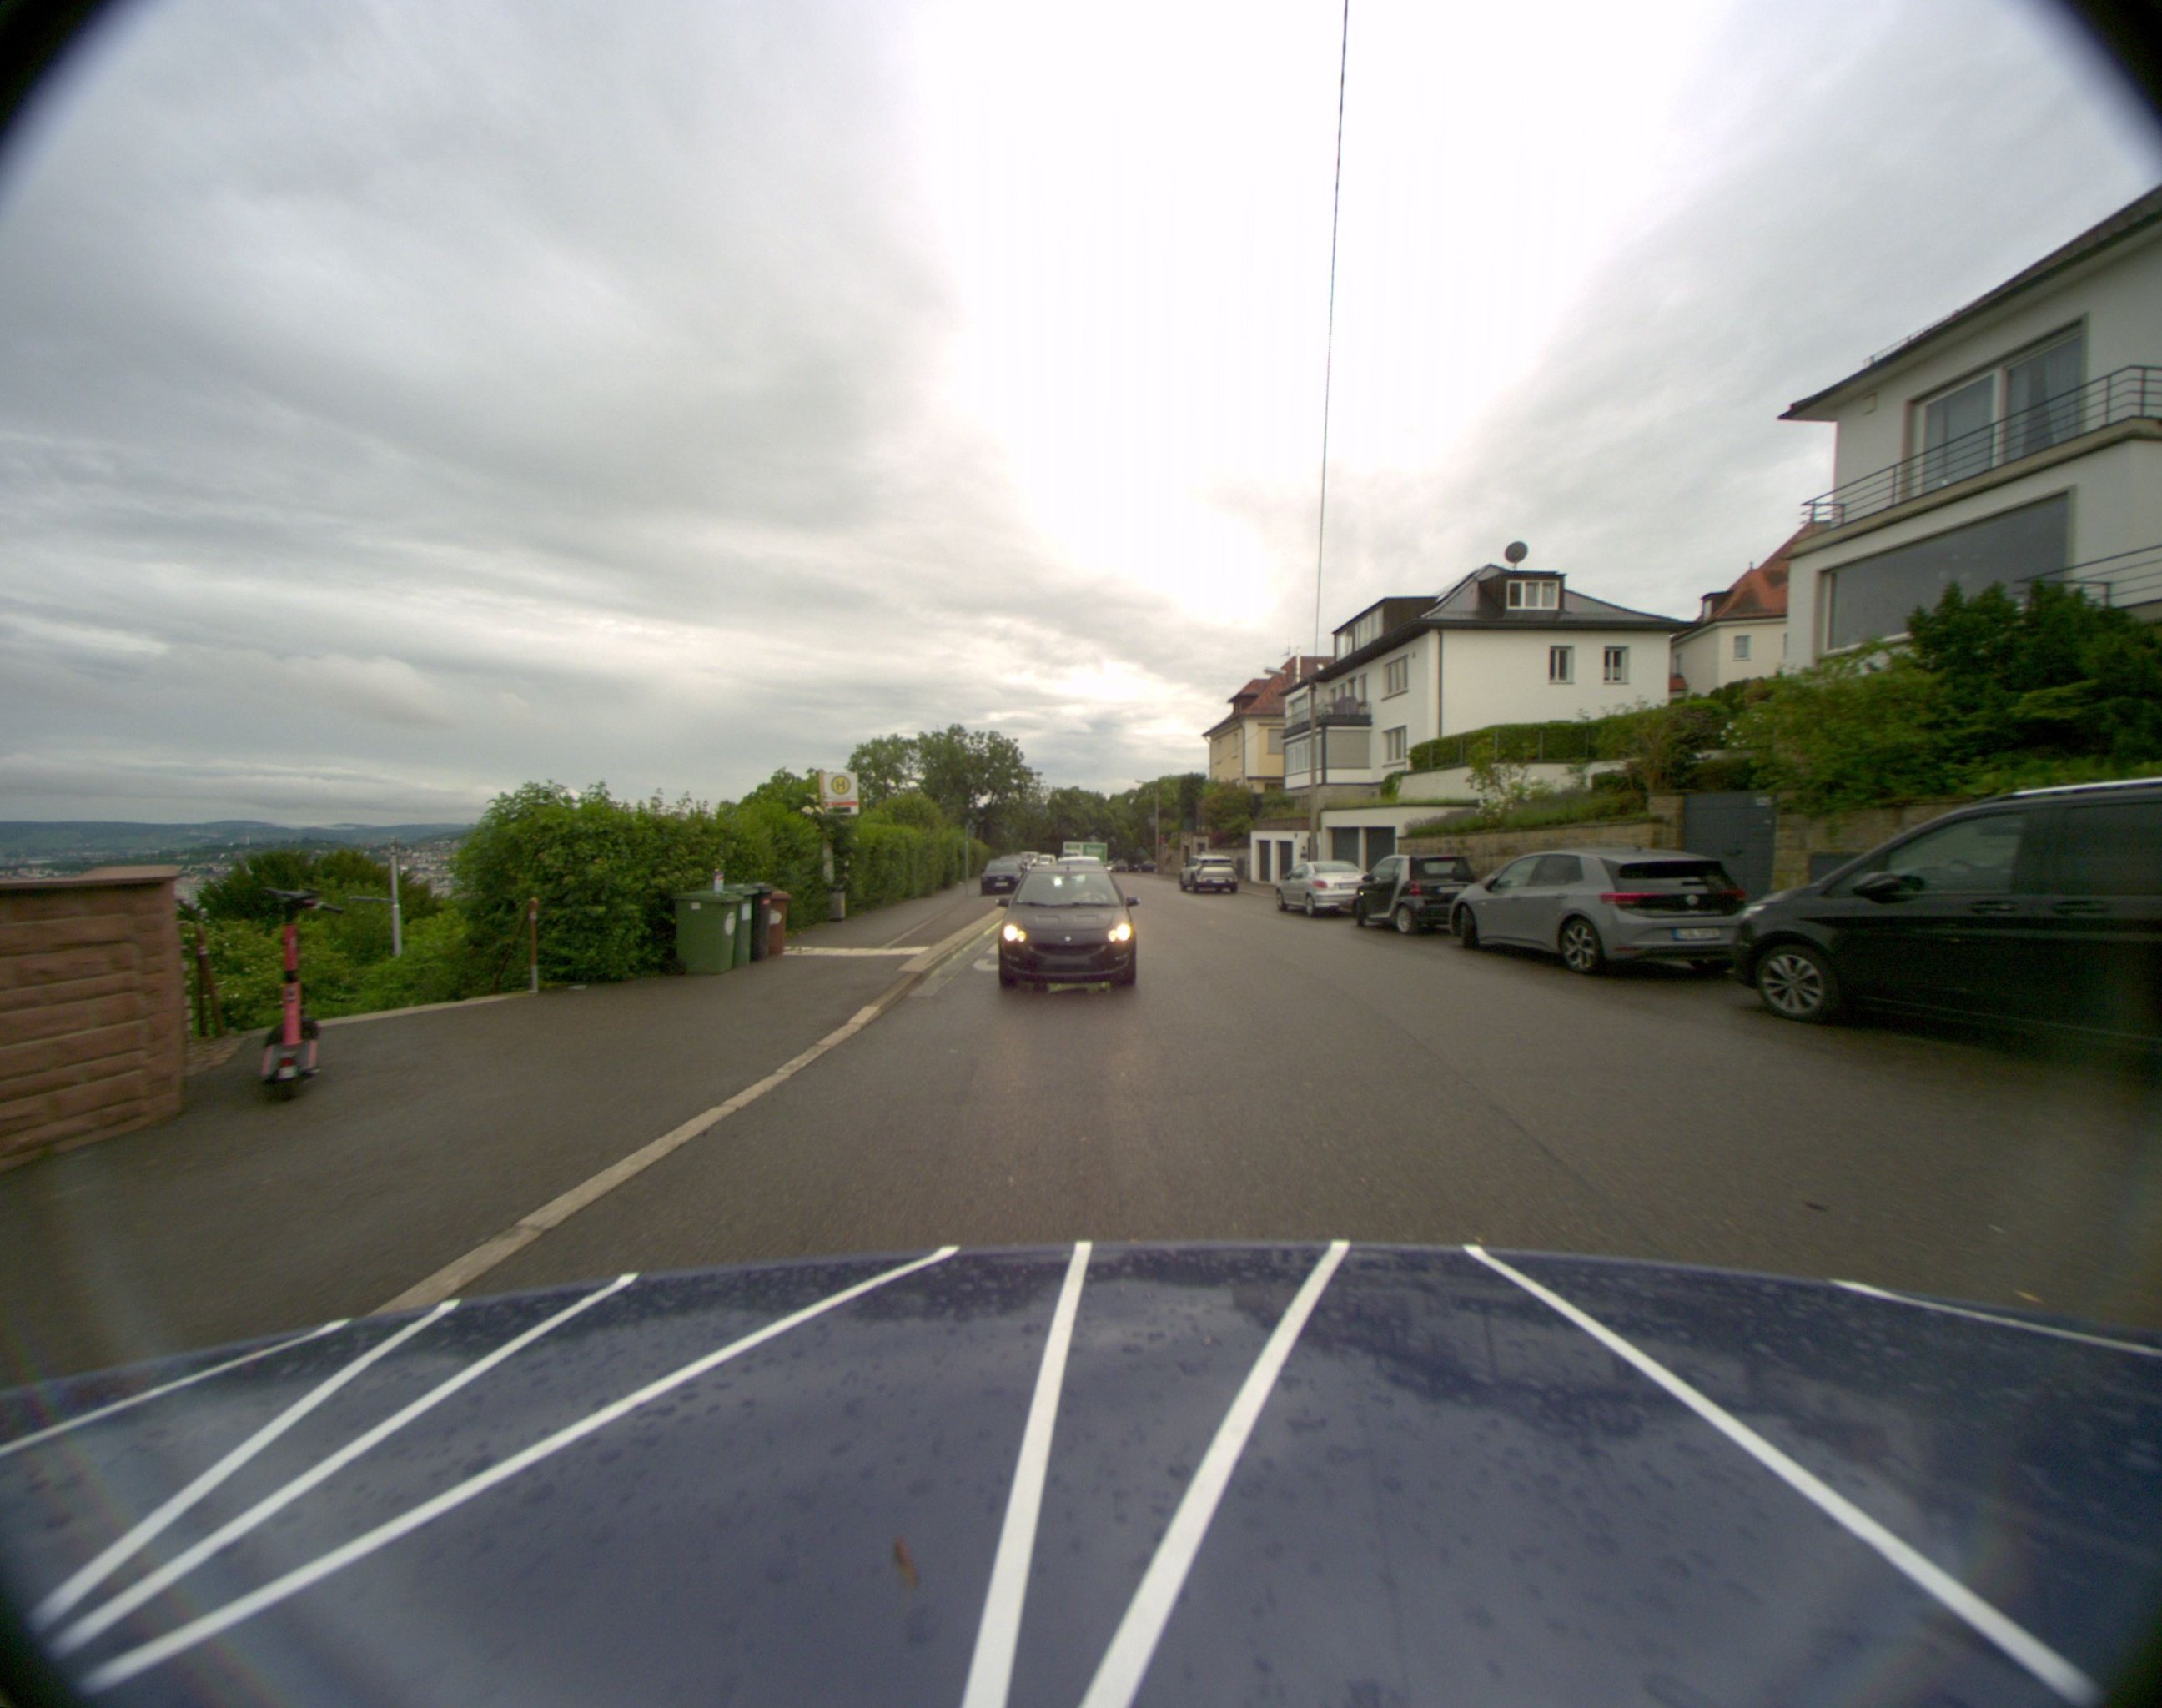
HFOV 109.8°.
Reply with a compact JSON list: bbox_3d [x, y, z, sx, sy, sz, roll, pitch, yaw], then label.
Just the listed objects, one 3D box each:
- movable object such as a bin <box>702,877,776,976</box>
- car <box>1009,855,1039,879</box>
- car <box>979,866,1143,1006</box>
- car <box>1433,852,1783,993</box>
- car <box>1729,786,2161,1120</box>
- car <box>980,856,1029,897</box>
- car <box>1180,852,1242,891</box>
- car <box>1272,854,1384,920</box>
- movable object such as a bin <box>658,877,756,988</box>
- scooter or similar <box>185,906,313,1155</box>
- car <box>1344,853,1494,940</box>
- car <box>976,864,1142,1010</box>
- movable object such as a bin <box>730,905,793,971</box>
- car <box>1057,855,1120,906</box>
[{"bbox_3d":[-4.549,0.949,10.141,0.613,1.239,0.684,-2,1,0],"label":"movable object such as a bin"},{"bbox_3d":[-3.801,0.871,51.327,1.929,1.447,3.998,-2,1,-3],"label":"car"},{"bbox_3d":[-0.072,0.956,10.467,1.710,1.414,4.001,-2,1,6],"label":"car"},{"bbox_3d":[6.862,0.756,10.619,1.696,1.482,4.402,-3,0,-2],"label":"car"},{"bbox_3d":[7.232,0.532,4.725,1.999,1.945,4.772,-3,0,-6],"label":"car"},{"bbox_3d":[-3.279,0.937,33.187,1.929,1.577,3.998,-2,1,-3],"label":"car"},{"bbox_3d":[5.496,0.704,32.635,1.869,1.492,3.999,-2,1,-1],"label":"car"},{"bbox_3d":[6.295,0.791,19.721,1.594,1.482,3.436,-3,0,-3],"label":"car"},{"bbox_3d":[-4.558,0.930,9.314,0.727,1.239,0.916,2,1,0],"label":"movable object such as a bin"},{"bbox_3d":[-5.173,1.013,4.771,0.357,1.265,1.290,-3,3,-42],"label":"scooter or similar"},{"bbox_3d":[6.602,0.768,15.151,1.522,1.482,2.893,-3,0,-3],"label":"car"},{"bbox_3d":[-0.095,0.966,10.447,1.695,1.482,3.941,-3,0,6],"label":"car"},{"bbox_3d":[-4.540,1.181,10.820,0.613,0.858,0.589,-2,1,0],"label":"movable object such as a bin"},{"bbox_3d":[0.177,0.862,26.813,1.929,1.577,3.998,-2,1,-3],"label":"car"}]
